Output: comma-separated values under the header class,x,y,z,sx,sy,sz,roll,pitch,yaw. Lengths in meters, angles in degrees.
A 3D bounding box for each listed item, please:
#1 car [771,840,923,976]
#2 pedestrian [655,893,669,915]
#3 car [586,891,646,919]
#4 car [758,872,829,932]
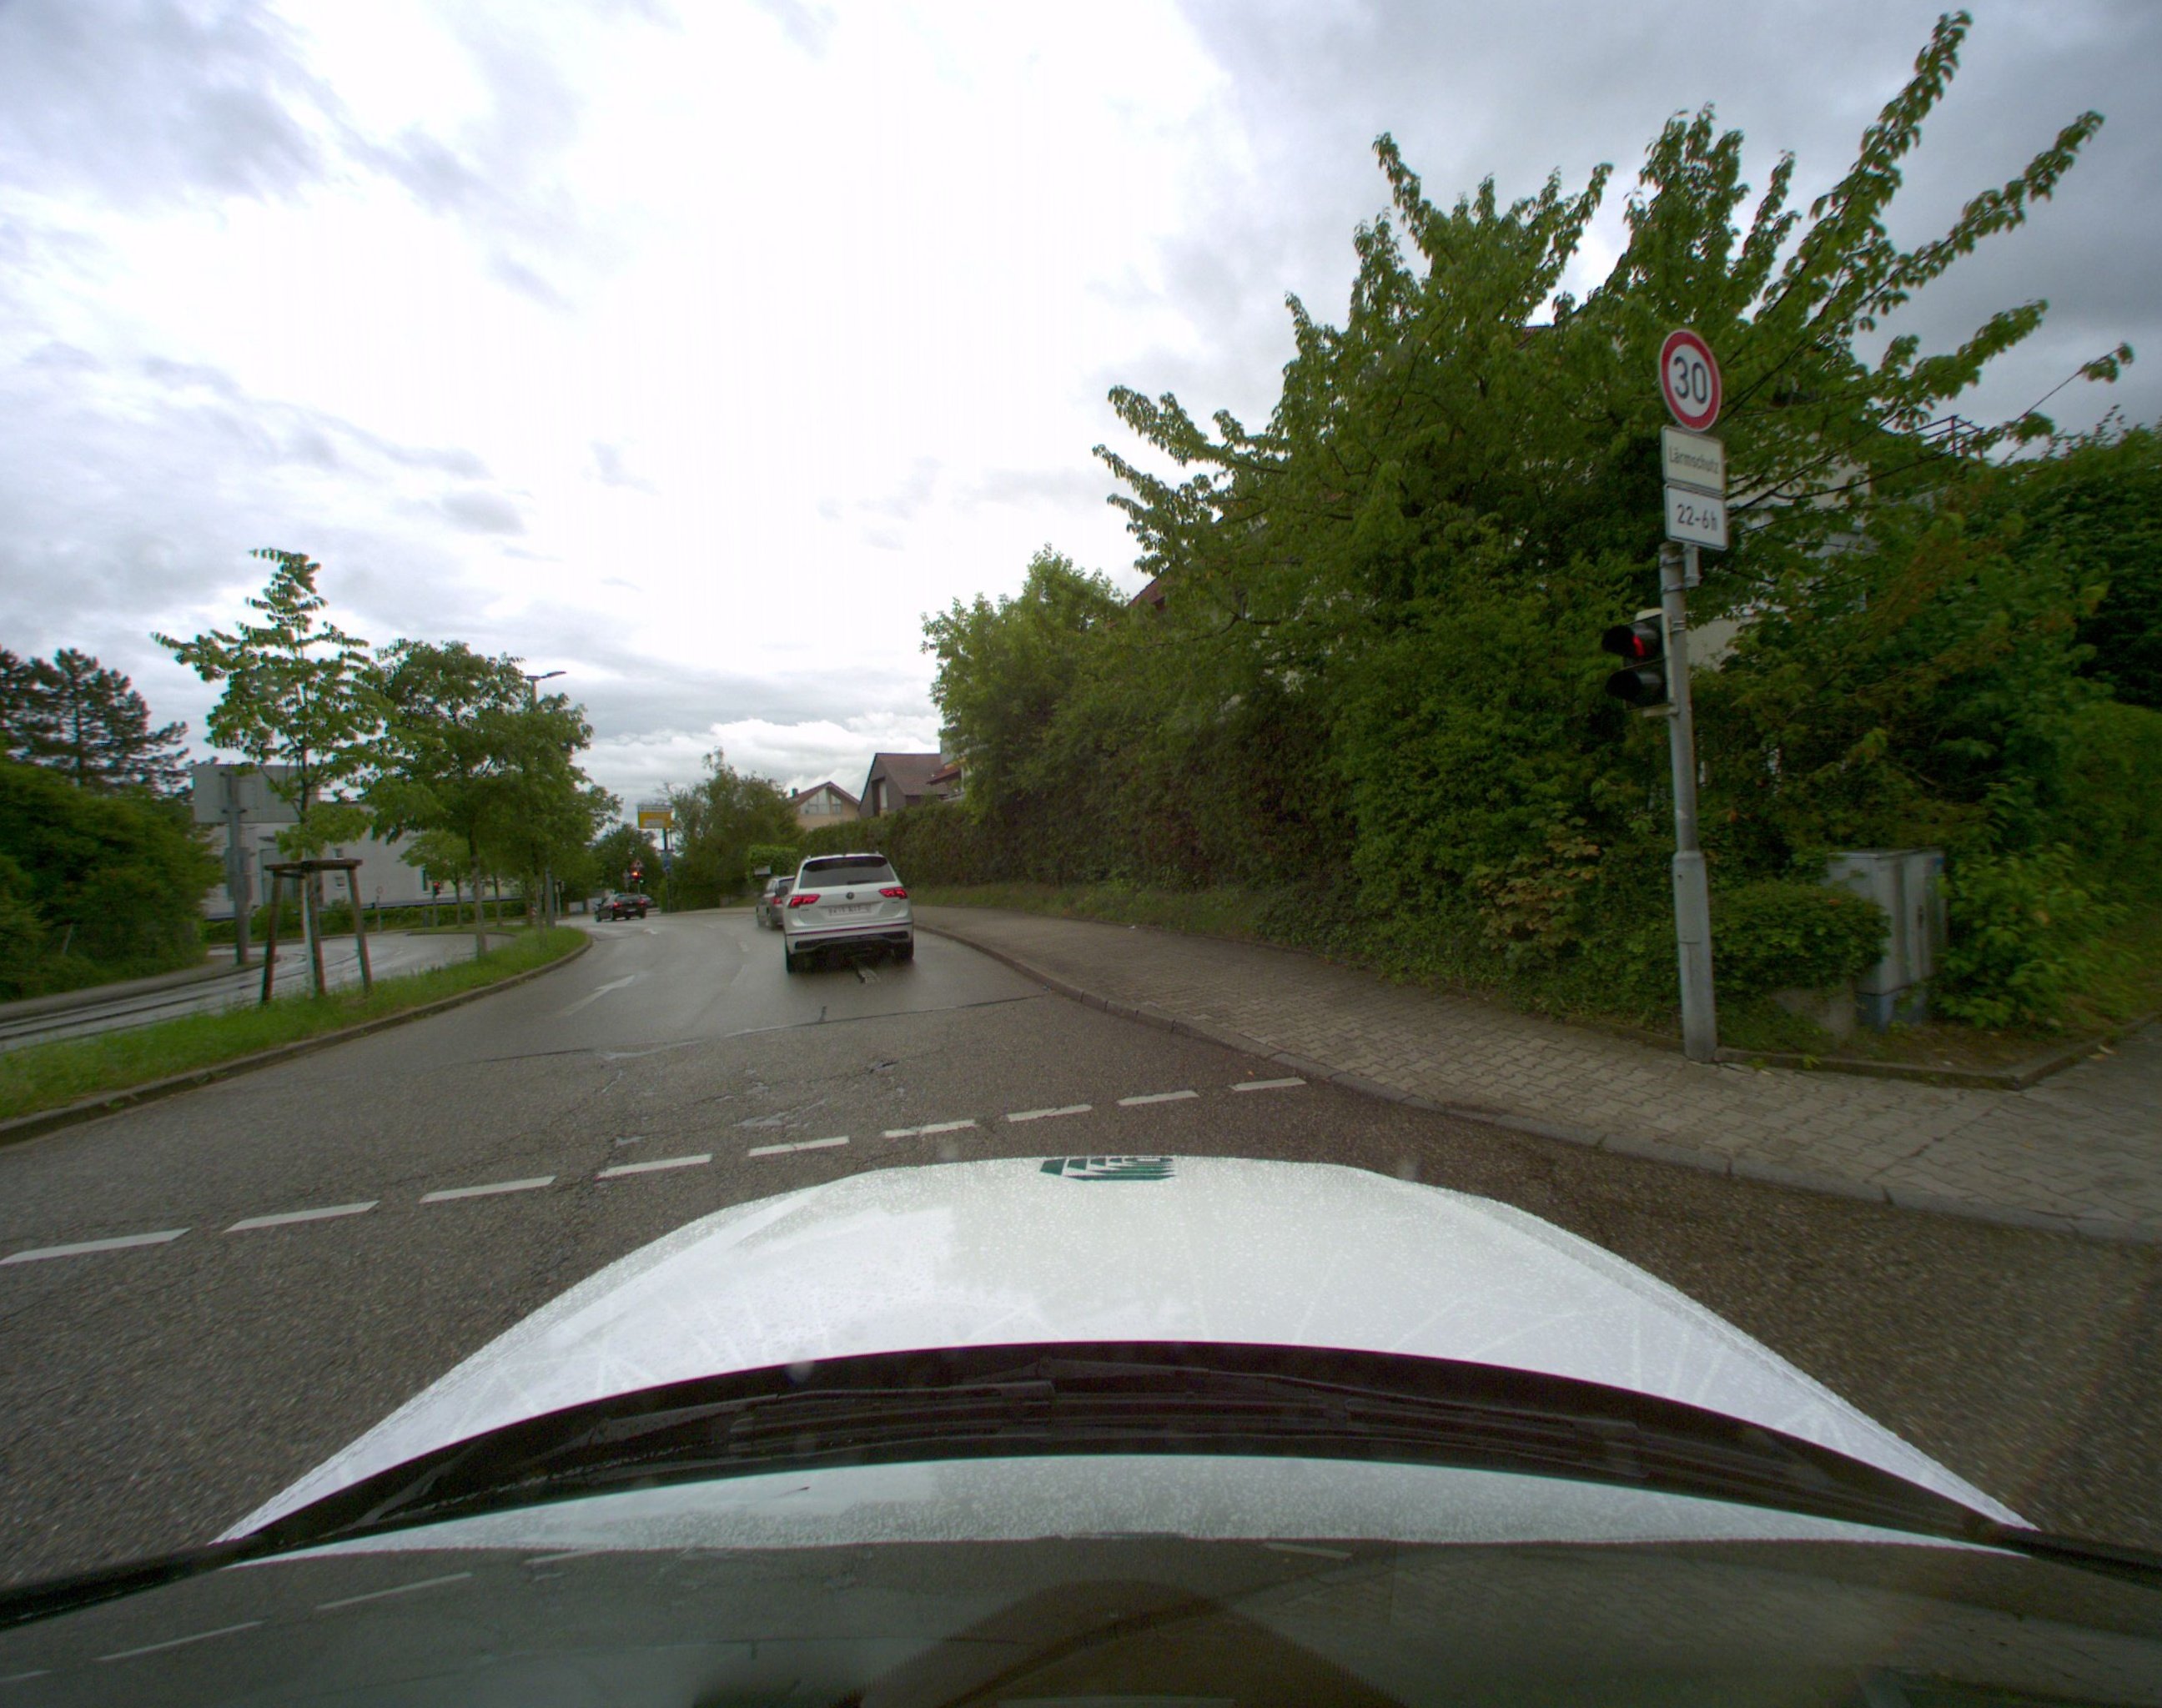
class,x,y,z,sx,sy,sz,roll,pitch,yaw
car,-3.845,0.783,13.142,1.927,1.722,4.237,-3,-1,-19
pedestrian,-41.163,4.907,80.029,0.839,2.014,0.807,-3,-1,33
car,-26.425,2.923,46.255,3.949,1.429,1.868,-5,-4,42
car,-8.329,1.307,23.677,1.771,1.510,3.974,0,-1,-19
